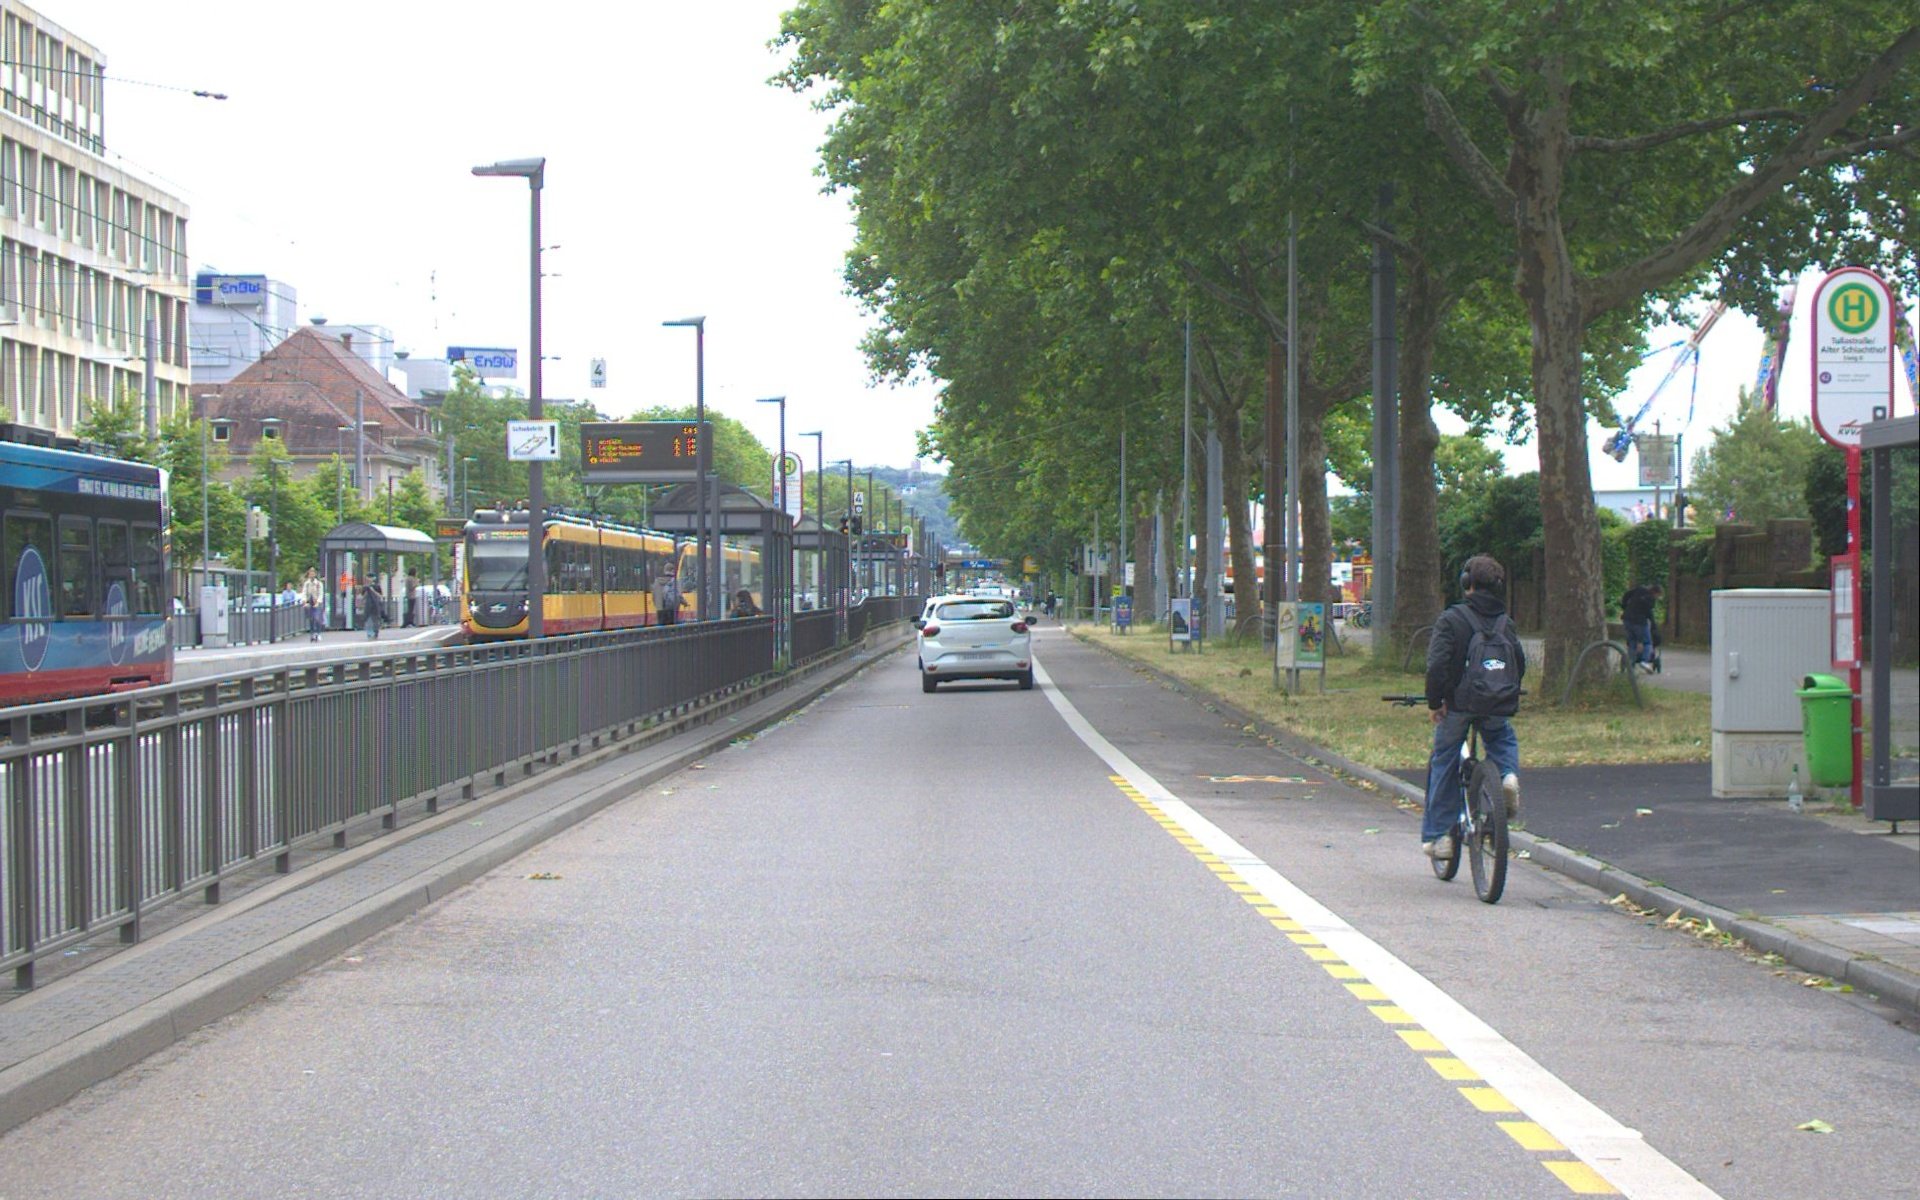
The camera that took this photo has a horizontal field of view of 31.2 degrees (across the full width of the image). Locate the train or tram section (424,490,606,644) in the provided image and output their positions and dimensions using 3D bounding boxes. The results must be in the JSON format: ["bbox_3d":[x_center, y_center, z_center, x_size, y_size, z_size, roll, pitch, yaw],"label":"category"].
[{"bbox_3d":[-11.803,-0.784,92.407,3.237,3.849,11.310,0,-1,1],"label":"train or tram section"}]

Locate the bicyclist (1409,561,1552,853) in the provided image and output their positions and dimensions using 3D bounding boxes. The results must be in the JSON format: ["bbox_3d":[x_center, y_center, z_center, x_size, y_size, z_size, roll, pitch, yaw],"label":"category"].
[{"bbox_3d":[2.766,0.563,18.311,0.641,1.525,0.664,0,-1,-1],"label":"bicyclist"}]

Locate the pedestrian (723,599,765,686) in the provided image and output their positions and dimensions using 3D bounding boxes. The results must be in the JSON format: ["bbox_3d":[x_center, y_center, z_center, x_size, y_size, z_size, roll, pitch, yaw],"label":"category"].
[{"bbox_3d":[-3.401,0.666,54.187,0.610,1.368,0.600,0,-1,1],"label":"pedestrian"}]

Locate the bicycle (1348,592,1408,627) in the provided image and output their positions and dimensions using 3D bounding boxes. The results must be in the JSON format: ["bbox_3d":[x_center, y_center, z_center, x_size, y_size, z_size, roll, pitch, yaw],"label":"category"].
[{"bbox_3d":[13.928,0.318,114.483,1.890,1.101,0.550,-2,-1,-1],"label":"bicycle"}]

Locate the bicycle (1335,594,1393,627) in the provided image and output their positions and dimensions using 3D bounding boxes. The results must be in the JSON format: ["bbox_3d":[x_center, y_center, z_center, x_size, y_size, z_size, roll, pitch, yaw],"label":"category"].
[{"bbox_3d":[14.070,0.350,119.701,1.921,1.087,0.550,-2,-1,-1],"label":"bicycle"}]

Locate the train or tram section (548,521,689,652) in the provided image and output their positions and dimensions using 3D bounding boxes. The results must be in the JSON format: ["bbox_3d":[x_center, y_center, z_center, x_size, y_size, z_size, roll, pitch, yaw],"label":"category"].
[{"bbox_3d":[-11.410,-0.359,116.281,3.180,4.165,13.619,0,-1,1],"label":"train or tram section"}]

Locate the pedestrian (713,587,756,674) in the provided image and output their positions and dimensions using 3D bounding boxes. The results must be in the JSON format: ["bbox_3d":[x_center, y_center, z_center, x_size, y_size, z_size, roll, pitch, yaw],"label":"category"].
[{"bbox_3d":[-3.465,0.470,52.905,0.610,1.336,0.600,0,-1,1],"label":"pedestrian"}]

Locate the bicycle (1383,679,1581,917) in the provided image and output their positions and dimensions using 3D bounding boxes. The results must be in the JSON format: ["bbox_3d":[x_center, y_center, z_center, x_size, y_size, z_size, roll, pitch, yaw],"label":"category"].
[{"bbox_3d":[2.741,1.010,18.258,0.652,1.146,2.283,0,-1,-1],"label":"bicycle"}]

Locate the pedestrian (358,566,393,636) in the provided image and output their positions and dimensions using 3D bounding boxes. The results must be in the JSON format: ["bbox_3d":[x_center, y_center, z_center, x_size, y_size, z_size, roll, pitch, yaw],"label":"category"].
[{"bbox_3d":[-14.982,0.035,88.132,0.711,1.789,1.160,0,-1,0],"label":"pedestrian"}]

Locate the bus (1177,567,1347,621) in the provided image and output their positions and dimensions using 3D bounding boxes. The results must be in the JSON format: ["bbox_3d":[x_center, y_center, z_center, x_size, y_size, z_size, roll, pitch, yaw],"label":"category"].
[{"bbox_3d":[16.881,-0.312,192.478,9.276,2.950,2.000,0,-1,-1],"label":"bus"}]

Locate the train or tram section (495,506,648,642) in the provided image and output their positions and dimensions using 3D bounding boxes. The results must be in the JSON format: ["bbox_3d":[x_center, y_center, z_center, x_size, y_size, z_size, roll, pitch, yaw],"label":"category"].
[{"bbox_3d":[-11.599,-0.697,103.763,3.163,3.849,11.310,0,-1,1],"label":"train or tram section"}]

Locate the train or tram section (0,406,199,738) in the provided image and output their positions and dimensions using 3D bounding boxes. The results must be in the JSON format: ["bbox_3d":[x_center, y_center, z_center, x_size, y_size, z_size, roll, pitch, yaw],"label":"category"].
[{"bbox_3d":[-12.081,-0.273,41.484,2.854,3.679,13.520,0,-1,0],"label":"train or tram section"}]

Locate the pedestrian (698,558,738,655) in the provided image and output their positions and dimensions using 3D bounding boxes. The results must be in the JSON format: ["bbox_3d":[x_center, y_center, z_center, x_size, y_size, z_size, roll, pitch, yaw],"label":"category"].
[{"bbox_3d":[-4.523,0.120,64.218,0.670,1.787,1.113,0,-1,-8],"label":"pedestrian"}]

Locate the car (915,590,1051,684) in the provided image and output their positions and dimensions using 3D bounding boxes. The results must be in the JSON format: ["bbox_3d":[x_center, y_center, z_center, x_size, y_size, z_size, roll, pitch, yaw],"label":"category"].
[{"bbox_3d":[0.409,0.587,55.012,1.885,1.448,3.999,0,-1,5],"label":"car"}]

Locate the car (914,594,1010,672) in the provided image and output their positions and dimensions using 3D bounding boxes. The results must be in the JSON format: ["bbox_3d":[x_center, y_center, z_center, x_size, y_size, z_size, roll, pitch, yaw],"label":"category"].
[{"bbox_3d":[0.065,0.671,71.782,1.841,1.547,4.000,-1,0,2],"label":"car"}]

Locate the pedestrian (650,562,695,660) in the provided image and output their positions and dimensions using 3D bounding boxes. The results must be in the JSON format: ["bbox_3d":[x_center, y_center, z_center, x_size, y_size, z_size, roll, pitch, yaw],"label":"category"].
[{"bbox_3d":[-5.315,0.211,63.548,0.670,1.787,1.113,0,-1,-12],"label":"pedestrian"}]
